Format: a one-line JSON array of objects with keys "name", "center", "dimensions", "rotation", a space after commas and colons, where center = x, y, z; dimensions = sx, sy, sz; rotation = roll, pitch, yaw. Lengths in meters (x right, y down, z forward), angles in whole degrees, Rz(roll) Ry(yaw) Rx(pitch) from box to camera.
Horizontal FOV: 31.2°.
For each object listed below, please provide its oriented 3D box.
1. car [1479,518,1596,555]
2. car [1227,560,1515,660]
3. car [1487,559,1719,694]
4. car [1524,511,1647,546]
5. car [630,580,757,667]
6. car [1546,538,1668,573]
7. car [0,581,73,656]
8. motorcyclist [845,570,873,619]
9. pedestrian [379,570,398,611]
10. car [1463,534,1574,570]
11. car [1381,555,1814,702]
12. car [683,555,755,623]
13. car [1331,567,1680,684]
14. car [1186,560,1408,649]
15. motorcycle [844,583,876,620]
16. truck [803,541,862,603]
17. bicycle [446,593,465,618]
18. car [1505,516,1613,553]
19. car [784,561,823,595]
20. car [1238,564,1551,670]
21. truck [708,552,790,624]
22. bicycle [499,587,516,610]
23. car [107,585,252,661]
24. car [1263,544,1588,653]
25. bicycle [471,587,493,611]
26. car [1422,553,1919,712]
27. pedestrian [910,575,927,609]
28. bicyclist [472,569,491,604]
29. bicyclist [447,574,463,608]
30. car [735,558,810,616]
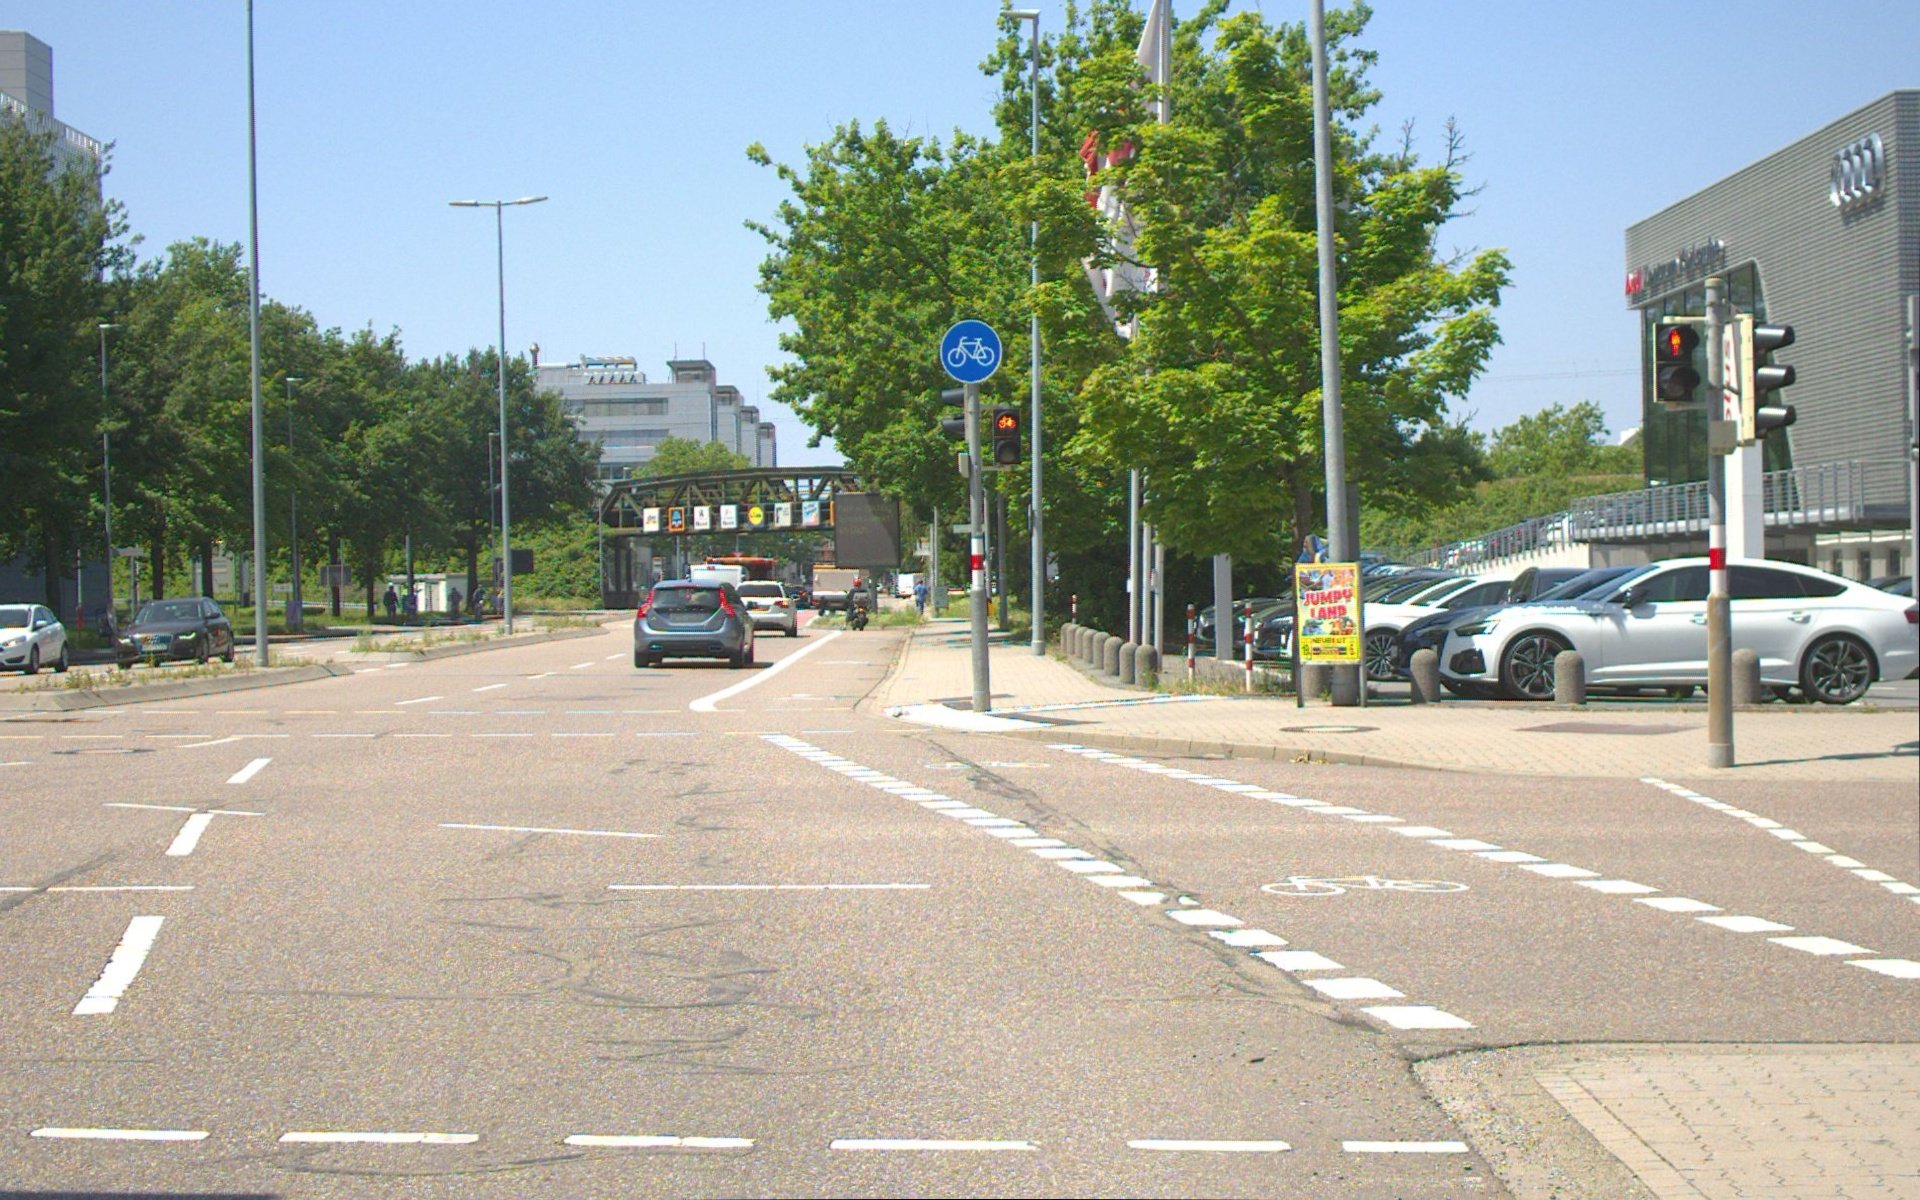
[{"name": "car", "center": [21.733, -2.380, 129.439], "dimensions": [3.986, 1.307, 1.798], "rotation": [1, 0, -5]}, {"name": "car", "center": [6.214, 0.141, 52.296], "dimensions": [4.101, 1.400, 1.869], "rotation": [1, 0, 0]}, {"name": "car", "center": [7.344, 0.276, 39.689], "dimensions": [1.863, 1.415, 4.662], "rotation": [1, 0, 1]}, {"name": "car", "center": [21.925, -2.509, 120.629], "dimensions": [3.938, 1.207, 1.718], "rotation": [0, 0, -5]}, {"name": "car", "center": [-4.462, 0.374, 58.046], "dimensions": [1.900, 1.371, 4.232], "rotation": [-1, 0, -1]}, {"name": "car", "center": [21.918, -1.514, 116.538], "dimensions": [3.724, 1.127, 1.684], "rotation": [1, 0, -5]}, {"name": "car", "center": [-19.585, 0.397, 70.561], "dimensions": [1.743, 1.481, 4.000], "rotation": [-2, 0, -1]}, {"name": "motorcyclist", "center": [-3.118, -0.168, 106.047], "dimensions": [0.719, 1.524, 0.871], "rotation": [1, 0, -10]}, {"name": "pedestrian", "center": [-26.332, -0.419, 158.277], "dimensions": [0.743, 1.878, 0.577], "rotation": [-1, 0, 0]}, {"name": "car", "center": [22.018, -1.891, 135.665], "dimensions": [3.986, 1.307, 1.798], "rotation": [-1, 0, -5]}, {"name": "car", "center": [6.547, 0.286, 35.623], "dimensions": [4.096, 1.385, 1.869], "rotation": [1, 0, 0]}, {"name": "car", "center": [-7.278, -0.342, 104.059], "dimensions": [1.993, 2.007, 4.000], "rotation": [0, 0, -1]}, {"name": "car", "center": [6.885, 0.312, 43.673], "dimensions": [4.096, 1.360, 1.874], "rotation": [1, 0, 0]}, {"name": "car", "center": [5.877, 0.080, 60.286], "dimensions": [3.681, 1.448, 1.834], "rotation": [1, 0, 0]}, {"name": "motorcycle", "center": [-3.095, 0.045, 105.946], "dimensions": [0.716, 1.101, 1.831], "rotation": [1, 0, -10]}, {"name": "truck", "center": [-6.003, -1.320, 162.952], "dimensions": [2.615, 2.841, 5.615], "rotation": [1, 1, -1]}, {"name": "bicycle", "center": [-23.690, 0.261, 161.439], "dimensions": [0.637, 1.130, 1.971], "rotation": [-1, 0, -2]}, {"name": "car", "center": [21.661, -2.362, 124.291], "dimensions": [3.523, 1.235, 1.677], "rotation": [1, 0, -5]}, {"name": "car", "center": [-9.610, -1.358, 211.192], "dimensions": [1.994, 2.007, 4.000], "rotation": [-2, 0, 2]}, {"name": "car", "center": [6.205, 0.236, 49.403], "dimensions": [4.226, 1.385, 1.869], "rotation": [1, 0, 0]}, {"name": "truck", "center": [-7.328, -0.448, 120.053], "dimensions": [2.458, 2.402, 7.134], "rotation": [1, 1, -1]}, {"name": "bicycle", "center": [-23.563, -0.071, 179.111], "dimensions": [0.629, 1.155, 2.117], "rotation": [-3, 0, -1]}, {"name": "car", "center": [-16.229, 0.460, 71.703], "dimensions": [1.726, 1.441, 4.719], "rotation": [-3, 0, 2]}, {"name": "car", "center": [6.247, -0.028, 46.487], "dimensions": [4.099, 1.344, 1.869], "rotation": [1, 0, 0]}, {"name": "bicycle", "center": [-23.067, -0.072, 165.890], "dimensions": [0.739, 1.121, 2.434], "rotation": [-1, 0, 0]}, {"name": "car", "center": [6.885, 0.302, 33.258], "dimensions": [4.592, 1.385, 1.869], "rotation": [1, 0, 2]}, {"name": "pedestrian", "center": [-1.657, -0.324, 136.700], "dimensions": [0.623, 1.370, 0.564], "rotation": [-1, 0, -2]}, {"name": "bicyclist", "center": [-23.077, -0.637, 165.780], "dimensions": [0.745, 1.680, 0.952], "rotation": [-1, 0, 0]}, {"name": "bicyclist", "center": [-23.688, -0.428, 161.312], "dimensions": [0.637, 1.577, 0.884], "rotation": [-1, 0, -3]}, {"name": "car", "center": [-4.746, -0.350, 87.363], "dimensions": [1.744, 1.391, 3.529], "rotation": [-1, 1, -1]}]
